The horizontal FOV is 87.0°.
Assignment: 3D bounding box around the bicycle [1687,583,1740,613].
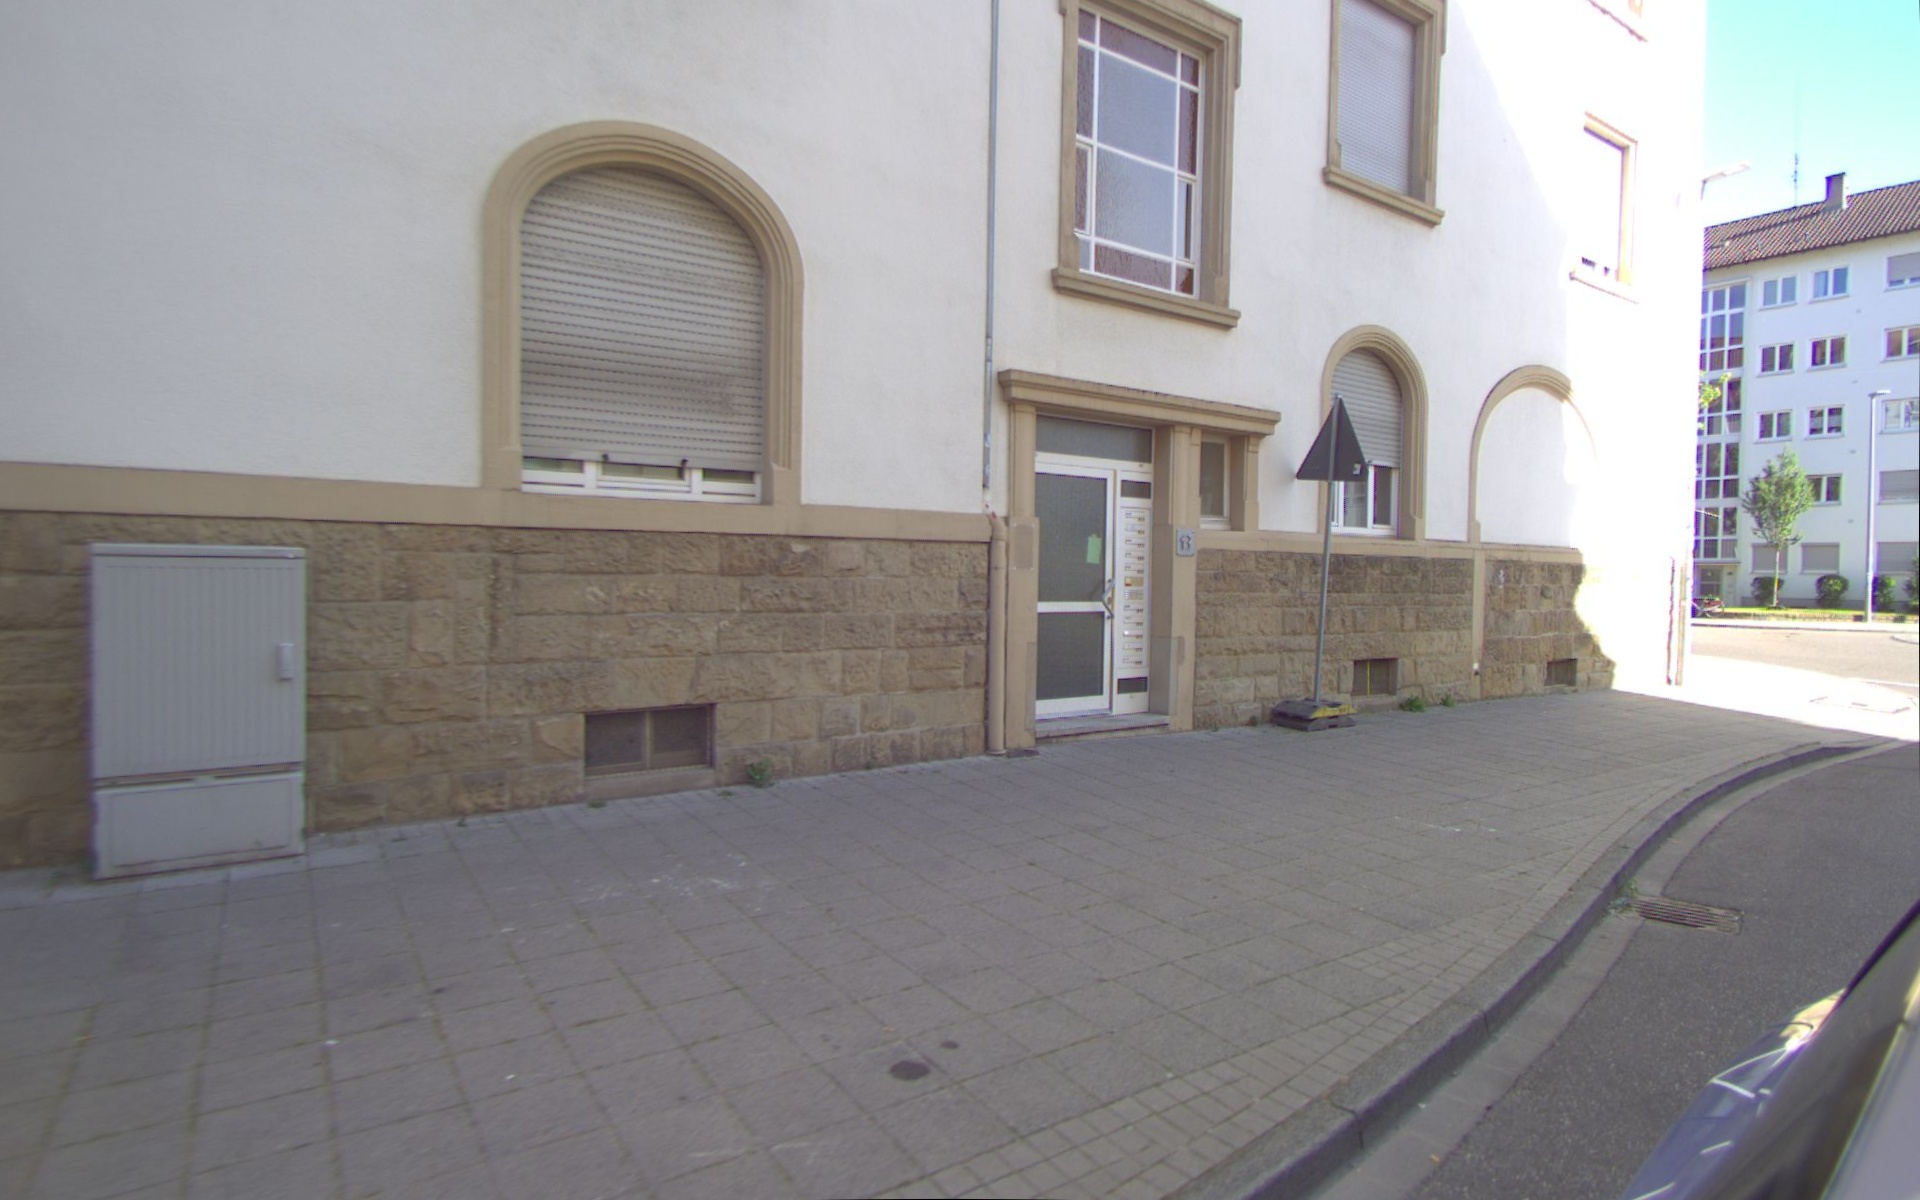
[{"bbox_3d":[29.632,-0.087,39.819,0.378,1.091,1.622,-4,4,-41],"label":"bicycle"}]
